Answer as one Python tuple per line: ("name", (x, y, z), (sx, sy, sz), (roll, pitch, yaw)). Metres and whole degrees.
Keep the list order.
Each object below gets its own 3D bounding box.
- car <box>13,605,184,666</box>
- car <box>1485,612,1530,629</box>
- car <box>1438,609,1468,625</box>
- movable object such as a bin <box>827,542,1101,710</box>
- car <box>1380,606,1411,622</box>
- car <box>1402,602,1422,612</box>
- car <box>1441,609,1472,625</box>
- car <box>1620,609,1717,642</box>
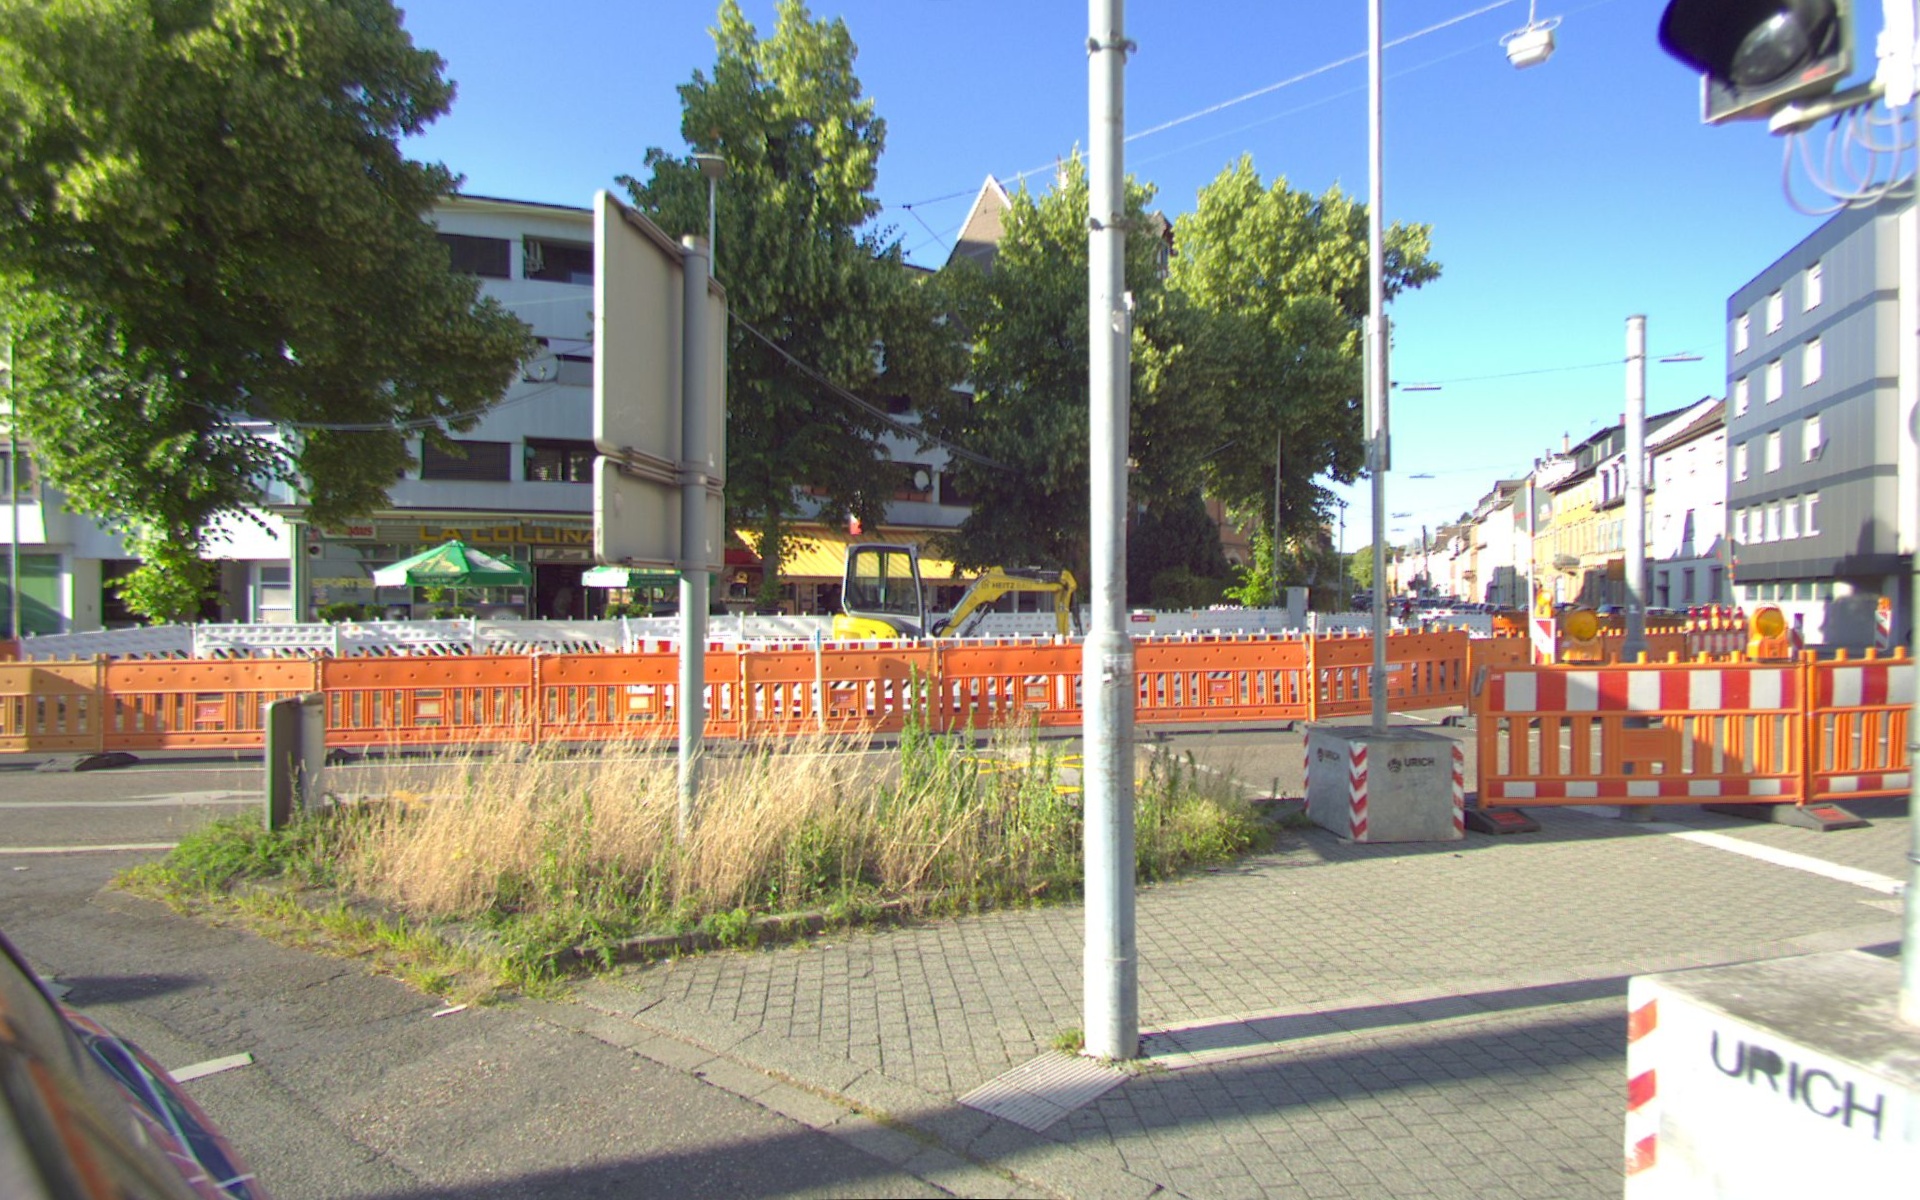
("car", (-24.716, 1.007, 29.102), (3.585, 1.686, 1.721), (0, -1, 4))
("car", (47.177, 1.767, 87.226), (3.398, 1.422, 1.498), (-1, 0, 28))
("car", (63.324, 2.155, 130.007), (3.398, 1.943, 1.498), (-1, 0, 28))
("movable object such as a bin", (0.062, 0.391, 15.182), (3.868, 2.342, 1.650), (-1, -1, 2))
("car", (54.034, 1.676, 125.556), (3.398, 1.943, 1.498), (-1, 0, 28))
("car", (86.441, 1.288, 193.726), (3.398, 1.943, 1.498), (-1, 0, 28))
("car", (60.113, 2.042, 122.522), (3.398, 1.943, 1.498), (-1, 0, 28))
("car", (31.997, 1.140, 45.810), (3.398, 1.422, 1.498), (-1, 0, 28))
